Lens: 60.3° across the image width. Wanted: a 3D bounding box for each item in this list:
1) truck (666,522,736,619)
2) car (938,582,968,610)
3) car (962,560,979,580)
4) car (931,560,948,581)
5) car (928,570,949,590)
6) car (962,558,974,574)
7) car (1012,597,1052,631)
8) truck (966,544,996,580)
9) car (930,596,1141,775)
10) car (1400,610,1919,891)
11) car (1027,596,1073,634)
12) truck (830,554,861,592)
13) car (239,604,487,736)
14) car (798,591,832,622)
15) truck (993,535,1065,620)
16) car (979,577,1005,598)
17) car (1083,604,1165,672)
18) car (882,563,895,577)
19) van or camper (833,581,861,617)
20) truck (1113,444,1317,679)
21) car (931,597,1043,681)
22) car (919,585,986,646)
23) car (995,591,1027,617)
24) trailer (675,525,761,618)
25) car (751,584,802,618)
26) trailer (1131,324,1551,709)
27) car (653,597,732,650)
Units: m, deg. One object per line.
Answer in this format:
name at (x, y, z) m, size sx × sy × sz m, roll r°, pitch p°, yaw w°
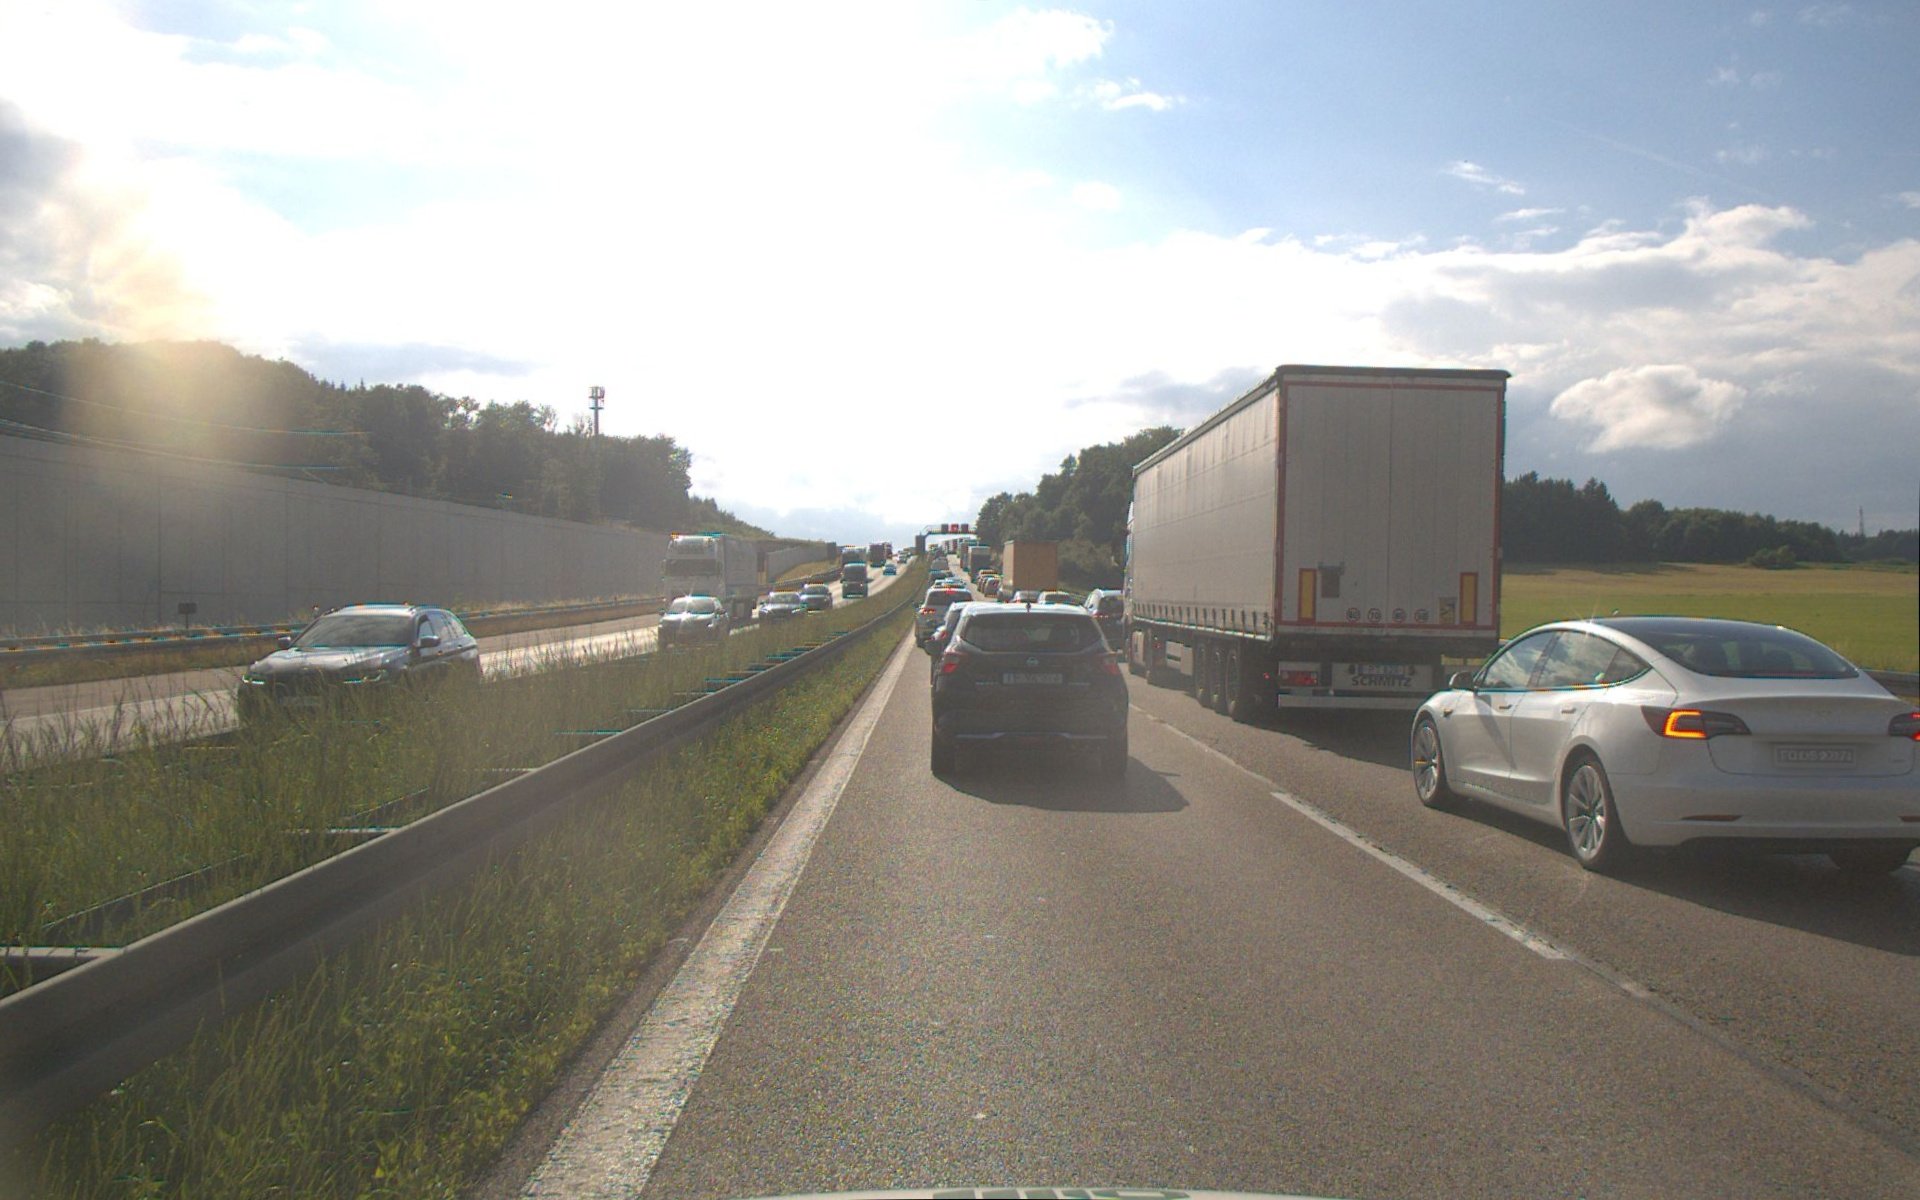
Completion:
truck at (-11.821, -1.306, 75.921) m, size 2.332 × 4.254 × 5.931 m, roll -1°, pitch 0°, yaw -1°
car at (-0.465, -0.299, 105.322) m, size 1.835 × 1.673 × 4.232 m, roll 0°, pitch 1°, yaw -1°
car at (1.226, -3.562, 197.350) m, size 1.835 × 2.196 × 5.211 m, roll 0°, pitch 3°, yaw -1°
car at (-2.351, -3.371, 189.010) m, size 1.835 × 2.196 × 5.211 m, roll 0°, pitch 3°, yaw -1°
car at (-1.896, -1.781, 144.799) m, size 1.835 × 1.673 × 4.231 m, roll 0°, pitch 1°, yaw -2°
car at (1.213, -5.201, 252.481) m, size 1.835 × 2.196 × 5.211 m, roll 0°, pitch 3°, yaw -1°
car at (3.680, 0.679, 85.147) m, size 1.835 × 1.673 × 4.232 m, roll 0°, pitch 0°, yaw -1°
truck at (2.750, -5.099, 223.039) m, size 3.394 × 4.657 × 12.437 m, roll 1°, pitch 1°, yaw -2°
car at (0.605, 0.715, 15.774) m, size 1.737 × 1.476 × 4.231 m, roll 0°, pitch 0°, yaw -1°
car at (4.424, 0.795, 10.801) m, size 1.753 × 1.418 × 4.434 m, roll 0°, pitch 0°, yaw -3°
car at (4.042, 0.681, 75.071) m, size 1.835 × 1.673 × 4.231 m, roll 0°, pitch 0°, yaw -1°
truck at (-14.424, -3.295, 208.370) m, size 3.230 × 4.657 × 12.438 m, roll 0°, pitch 0°, yaw -1°
car at (-7.543, 0.823, 21.363) m, size 1.663 × 1.525 × 4.426 m, roll 0°, pitch 0°, yaw -1°
car at (-8.367, 0.371, 95.523) m, size 1.674 × 1.736 × 4.172 m, roll 0°, pitch 0°, yaw -2°
truck at (3.951, -1.171, 97.973) m, size 3.230 × 4.657 × 12.435 m, roll 1°, pitch -1°, yaw -2°
car at (2.690, -1.064, 140.365) m, size 1.836 × 1.673 × 4.229 m, roll 0°, pitch 1°, yaw -4°
car at (4.093, 0.915, 41.862) m, size 1.663 × 1.639 × 4.437 m, roll 0°, pitch 0°, yaw 0°
car at (-10.170, -4.241, 234.545) m, size 1.709 × 1.735 × 4.230 m, roll -3°, pitch 1°, yaw -2°
van or camper at (-9.518, -0.057, 139.538) m, size 2.047 × 2.869 × 5.894 m, roll 1°, pitch -1°, yaw -1°
truck at (4.745, -0.640, 31.731) m, size 3.069 × 4.086 × 5.163 m, roll 1°, pitch -1°, yaw 0°
car at (0.423, 0.644, 29.137) m, size 1.835 × 1.381 × 4.231 m, roll 0°, pitch 0°, yaw -1°
car at (-0.234, 0.427, 47.491) m, size 1.835 × 1.673 × 4.231 m, roll 0°, pitch 0°, yaw -1°
car at (3.357, 0.242, 109.426) m, size 1.836 × 1.673 × 4.230 m, roll 0°, pitch 0°, yaw -3°
trailer at (-11.846, -1.278, 82.111) m, size 2.341 × 4.255 × 13.201 m, roll -1°, pitch 0°, yaw 0°
car at (-7.662, 0.046, 69.448) m, size 1.706 × 1.381 × 4.231 m, roll 0°, pitch 0°, yaw -1°
trailer at (4.771, -0.773, 24.371) m, size 3.066 × 4.081 × 13.364 m, roll 1°, pitch -1°, yaw 0°
car at (-7.954, 0.683, 49.412) m, size 1.733 × 1.505 × 3.828 m, roll 0°, pitch 0°, yaw 0°
